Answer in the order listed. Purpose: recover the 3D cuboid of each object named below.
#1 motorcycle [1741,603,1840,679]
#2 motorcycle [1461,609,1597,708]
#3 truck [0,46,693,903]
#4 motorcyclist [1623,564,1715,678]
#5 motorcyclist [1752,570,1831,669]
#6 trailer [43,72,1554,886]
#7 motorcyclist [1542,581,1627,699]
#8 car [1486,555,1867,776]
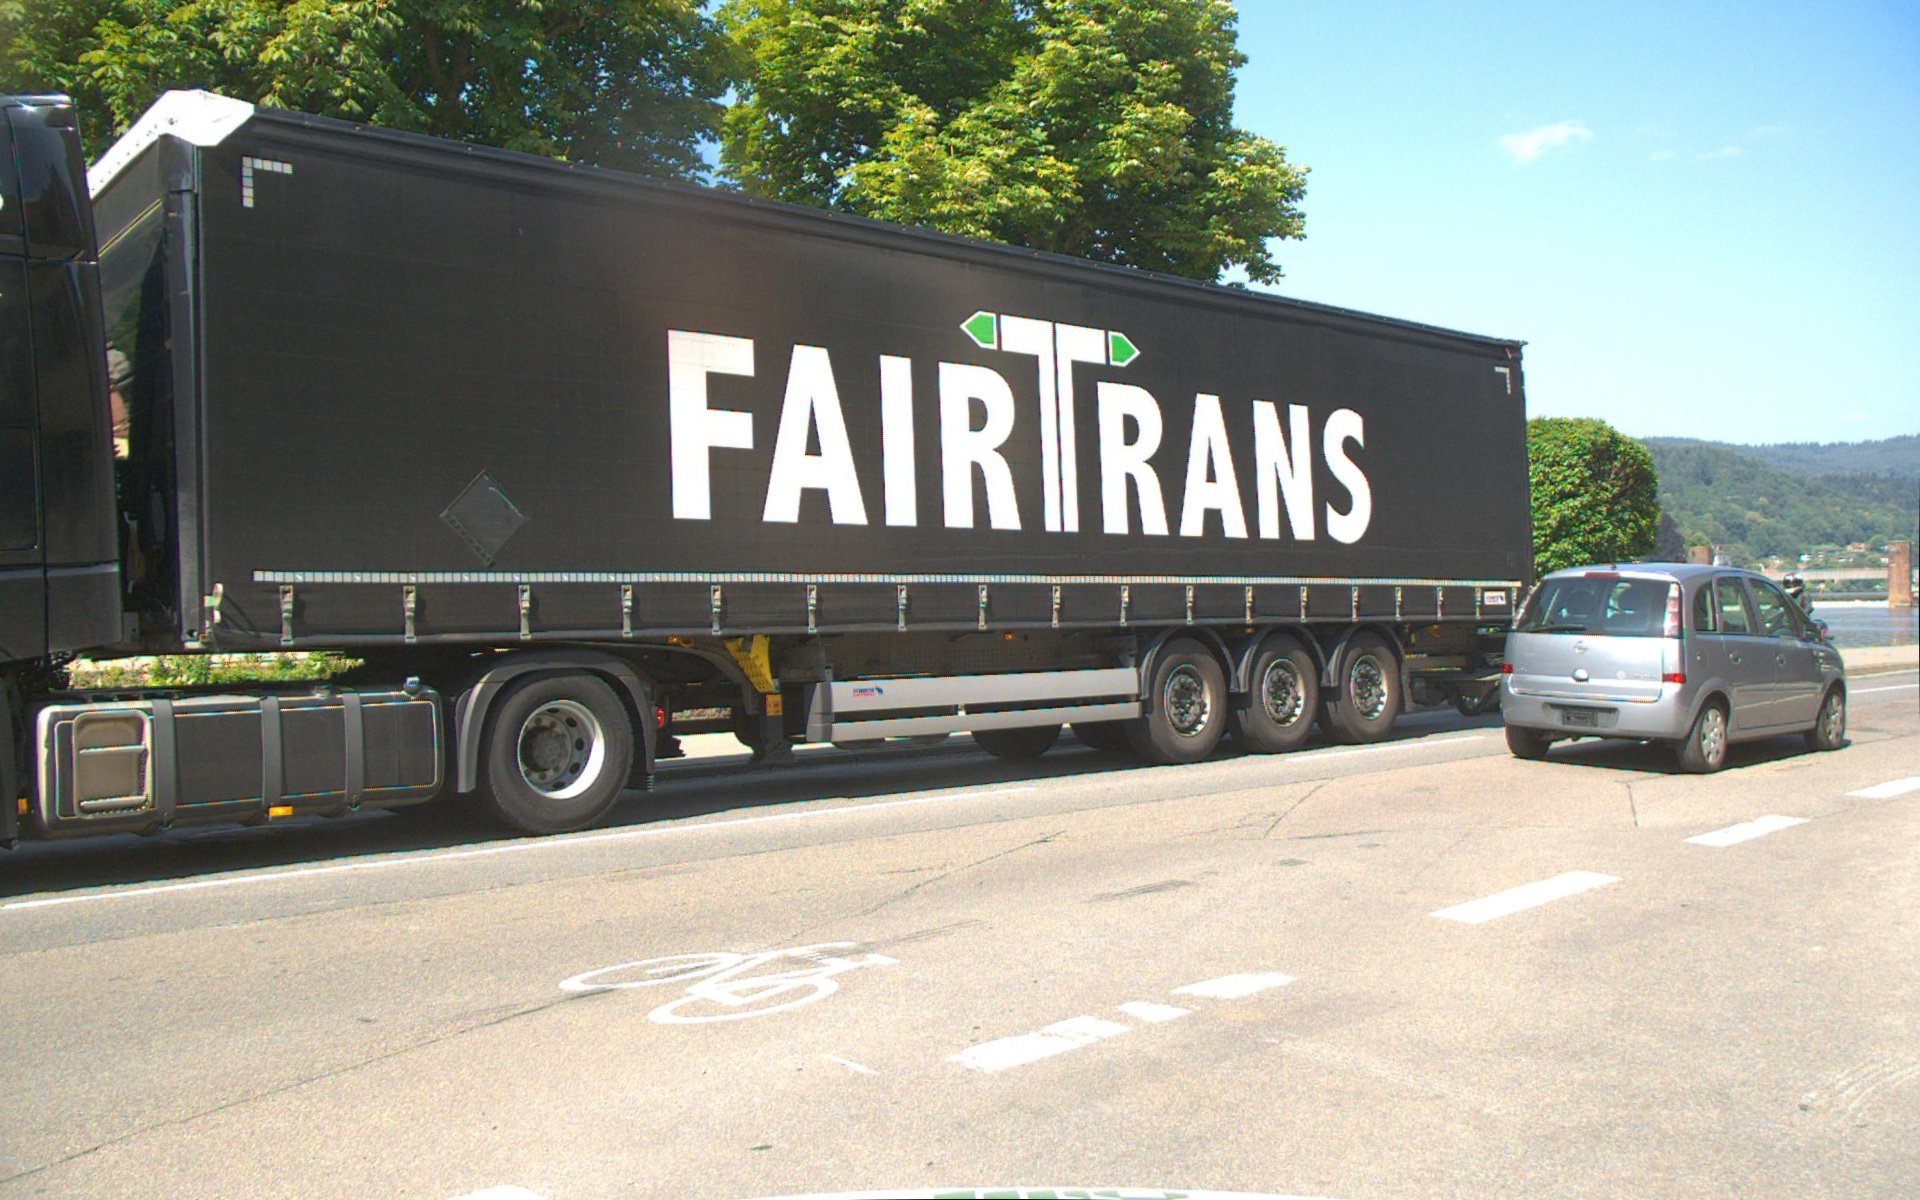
[{"bbox_3d":[11.978,0.574,23.826,1.799,1.042,0.649,-1,0,-42],"label":"motorcycle"},{"bbox_3d":[7.057,0.711,20.454,2.075,1.143,0.625,-1,-2,-42],"label":"motorcycle"},{"bbox_3d":[-4.862,-0.581,9.616,5.879,4.143,2.797,-1,-2,-41],"label":"truck"},{"bbox_3d":[8.861,0.253,20.681,0.793,1.390,0.777,0,-1,-41],"label":"motorcyclist"},{"bbox_3d":[11.941,0.270,23.760,0.928,1.390,0.709,-1,-1,-41],"label":"motorcyclist"},{"bbox_3d":[0.178,-0.672,14.050,13.649,4.176,2.800,-1,-2,-41],"label":"trailer"},{"bbox_3d":[8.480,0.540,22.455,0.983,1.551,0.655,0,-2,-43],"label":"motorcyclist"},{"bbox_3d":[6.198,0.461,14.133,3.709,1.639,1.666,-1,1,-43],"label":"car"}]
